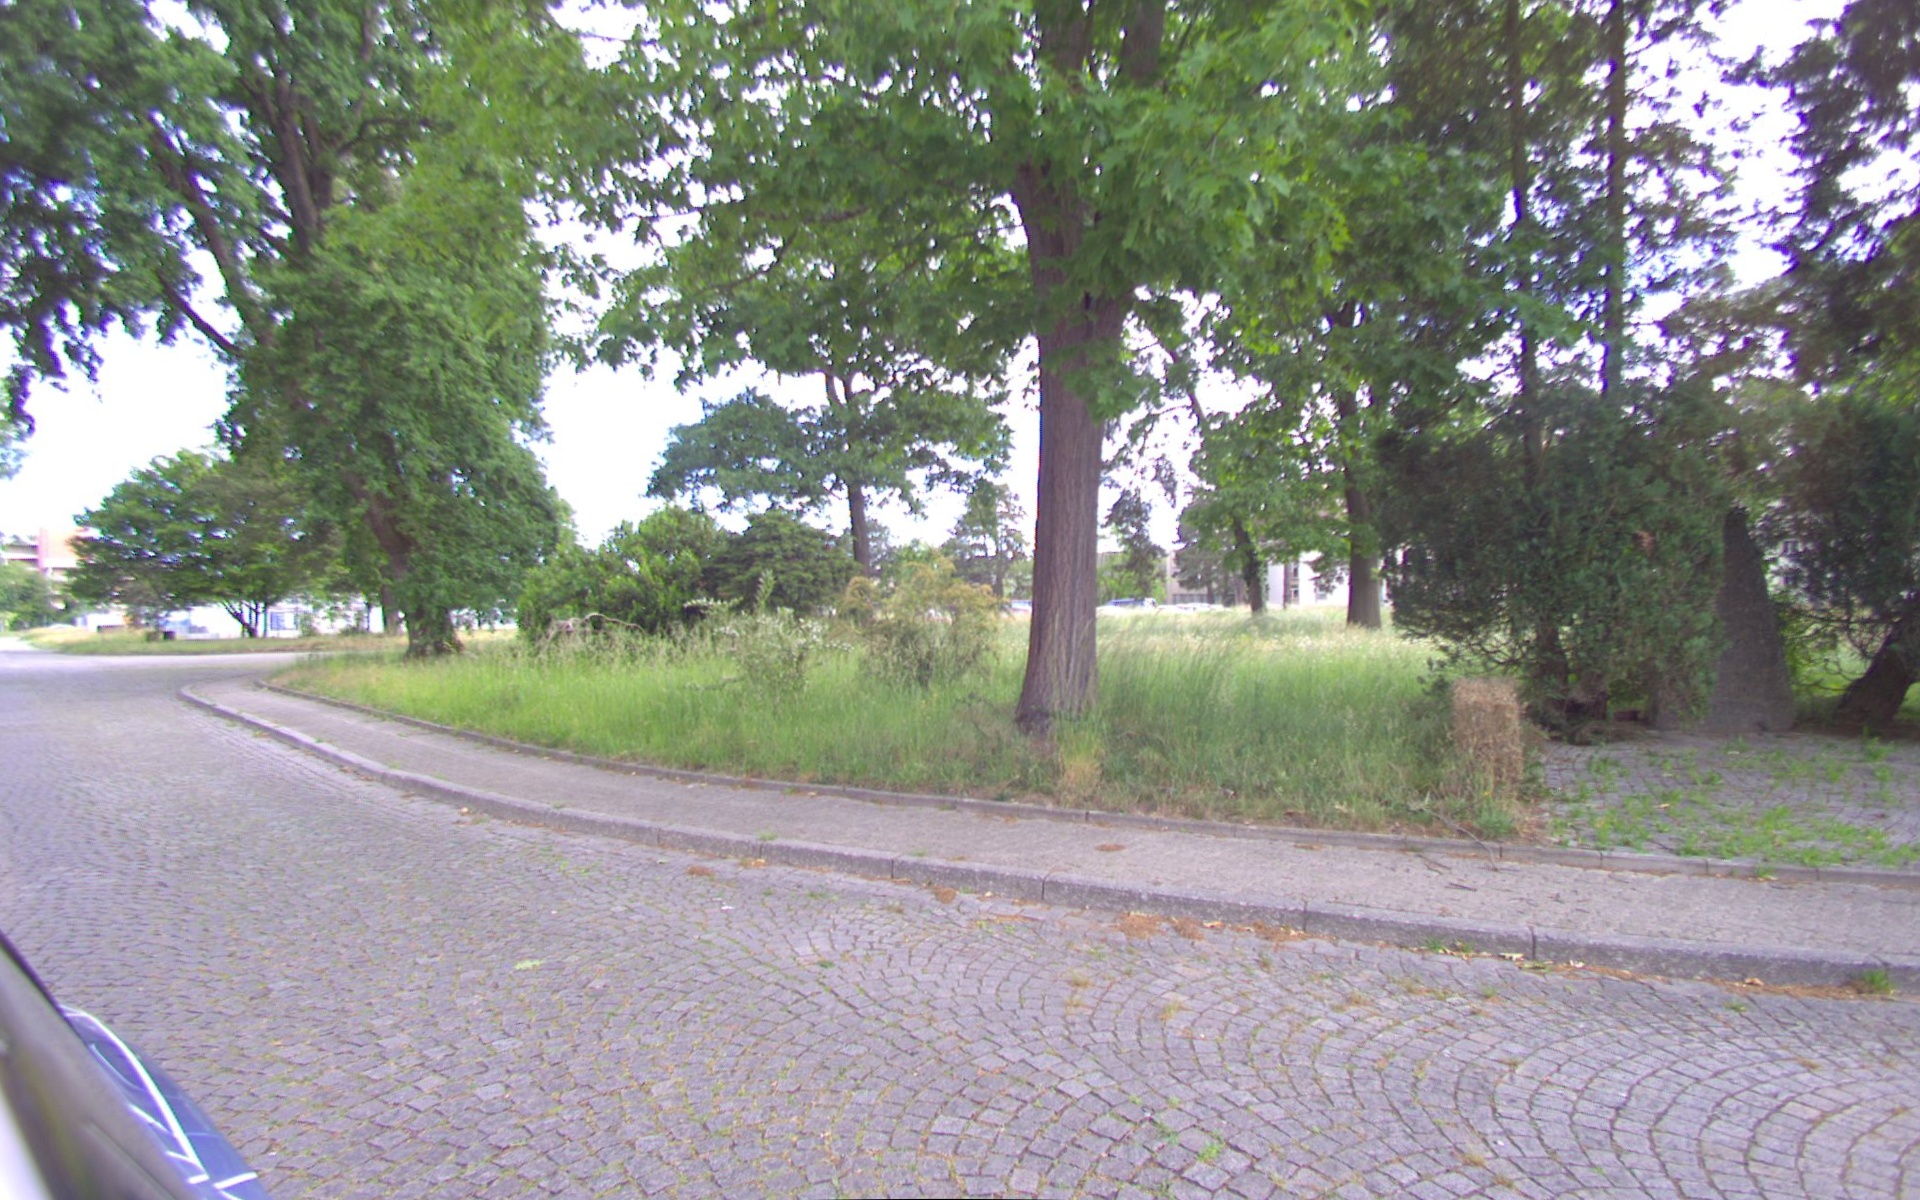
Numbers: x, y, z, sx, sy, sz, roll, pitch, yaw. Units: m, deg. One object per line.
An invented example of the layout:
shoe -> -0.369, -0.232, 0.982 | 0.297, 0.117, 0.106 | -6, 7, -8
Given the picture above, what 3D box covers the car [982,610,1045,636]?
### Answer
car -> 3.237, 1.398, 61.773 | 3.664, 1.432, 1.554 | -4, -3, 44
